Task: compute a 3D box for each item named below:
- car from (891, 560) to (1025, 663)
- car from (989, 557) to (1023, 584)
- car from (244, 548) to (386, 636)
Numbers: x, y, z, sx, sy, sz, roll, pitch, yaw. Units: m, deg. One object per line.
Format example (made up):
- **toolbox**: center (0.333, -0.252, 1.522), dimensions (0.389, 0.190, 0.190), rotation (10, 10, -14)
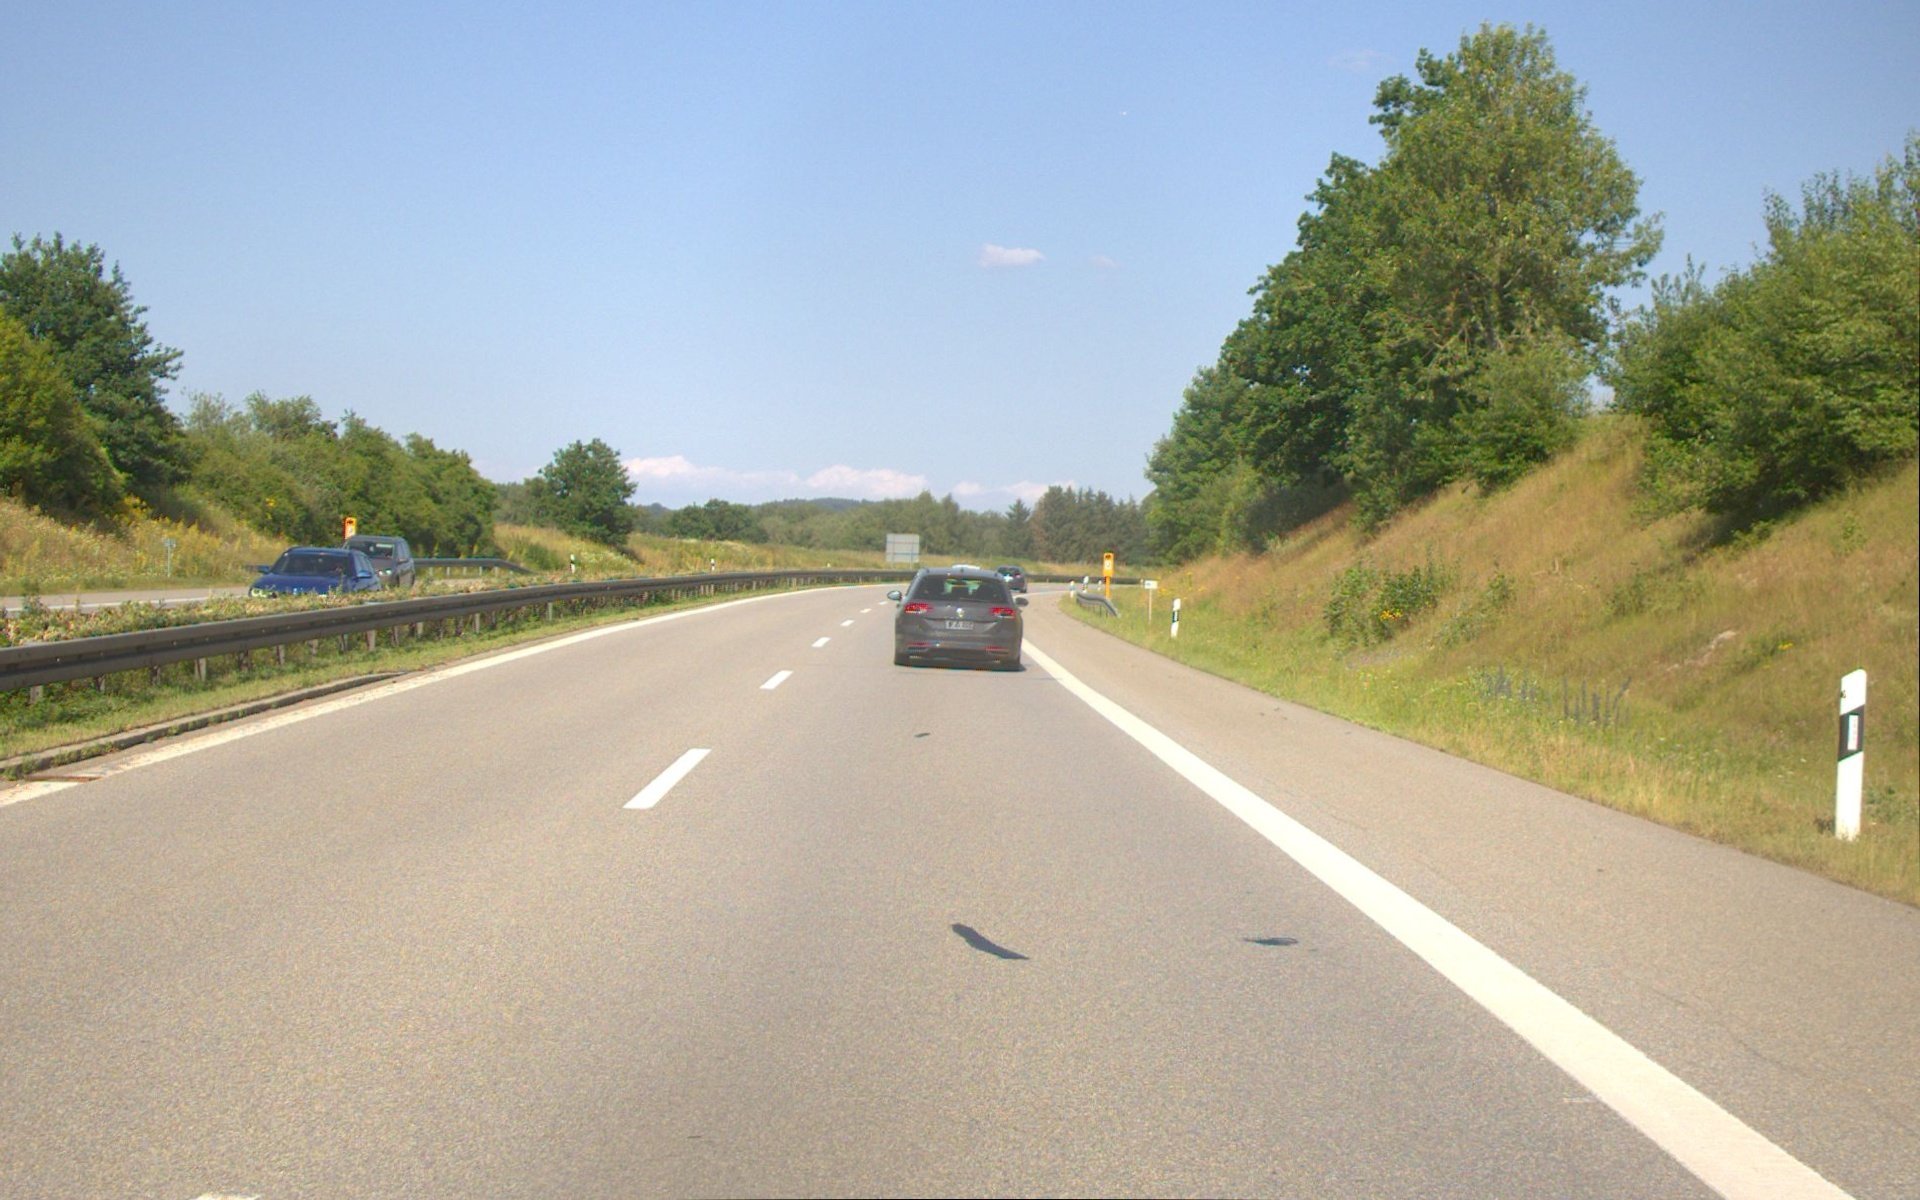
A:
- **car**: center (-0.036, 0.135, 49.114), dimensions (1.791, 1.340, 4.000), rotation (2, 1, 0)
- **car**: center (2.618, -1.664, 195.828), dimensions (1.710, 1.382, 3.355), rotation (5, 0, -1)
- **car**: center (-11.359, -0.159, 60.759), dimensions (1.767, 1.489, 4.229), rotation (0, 1, -1)
